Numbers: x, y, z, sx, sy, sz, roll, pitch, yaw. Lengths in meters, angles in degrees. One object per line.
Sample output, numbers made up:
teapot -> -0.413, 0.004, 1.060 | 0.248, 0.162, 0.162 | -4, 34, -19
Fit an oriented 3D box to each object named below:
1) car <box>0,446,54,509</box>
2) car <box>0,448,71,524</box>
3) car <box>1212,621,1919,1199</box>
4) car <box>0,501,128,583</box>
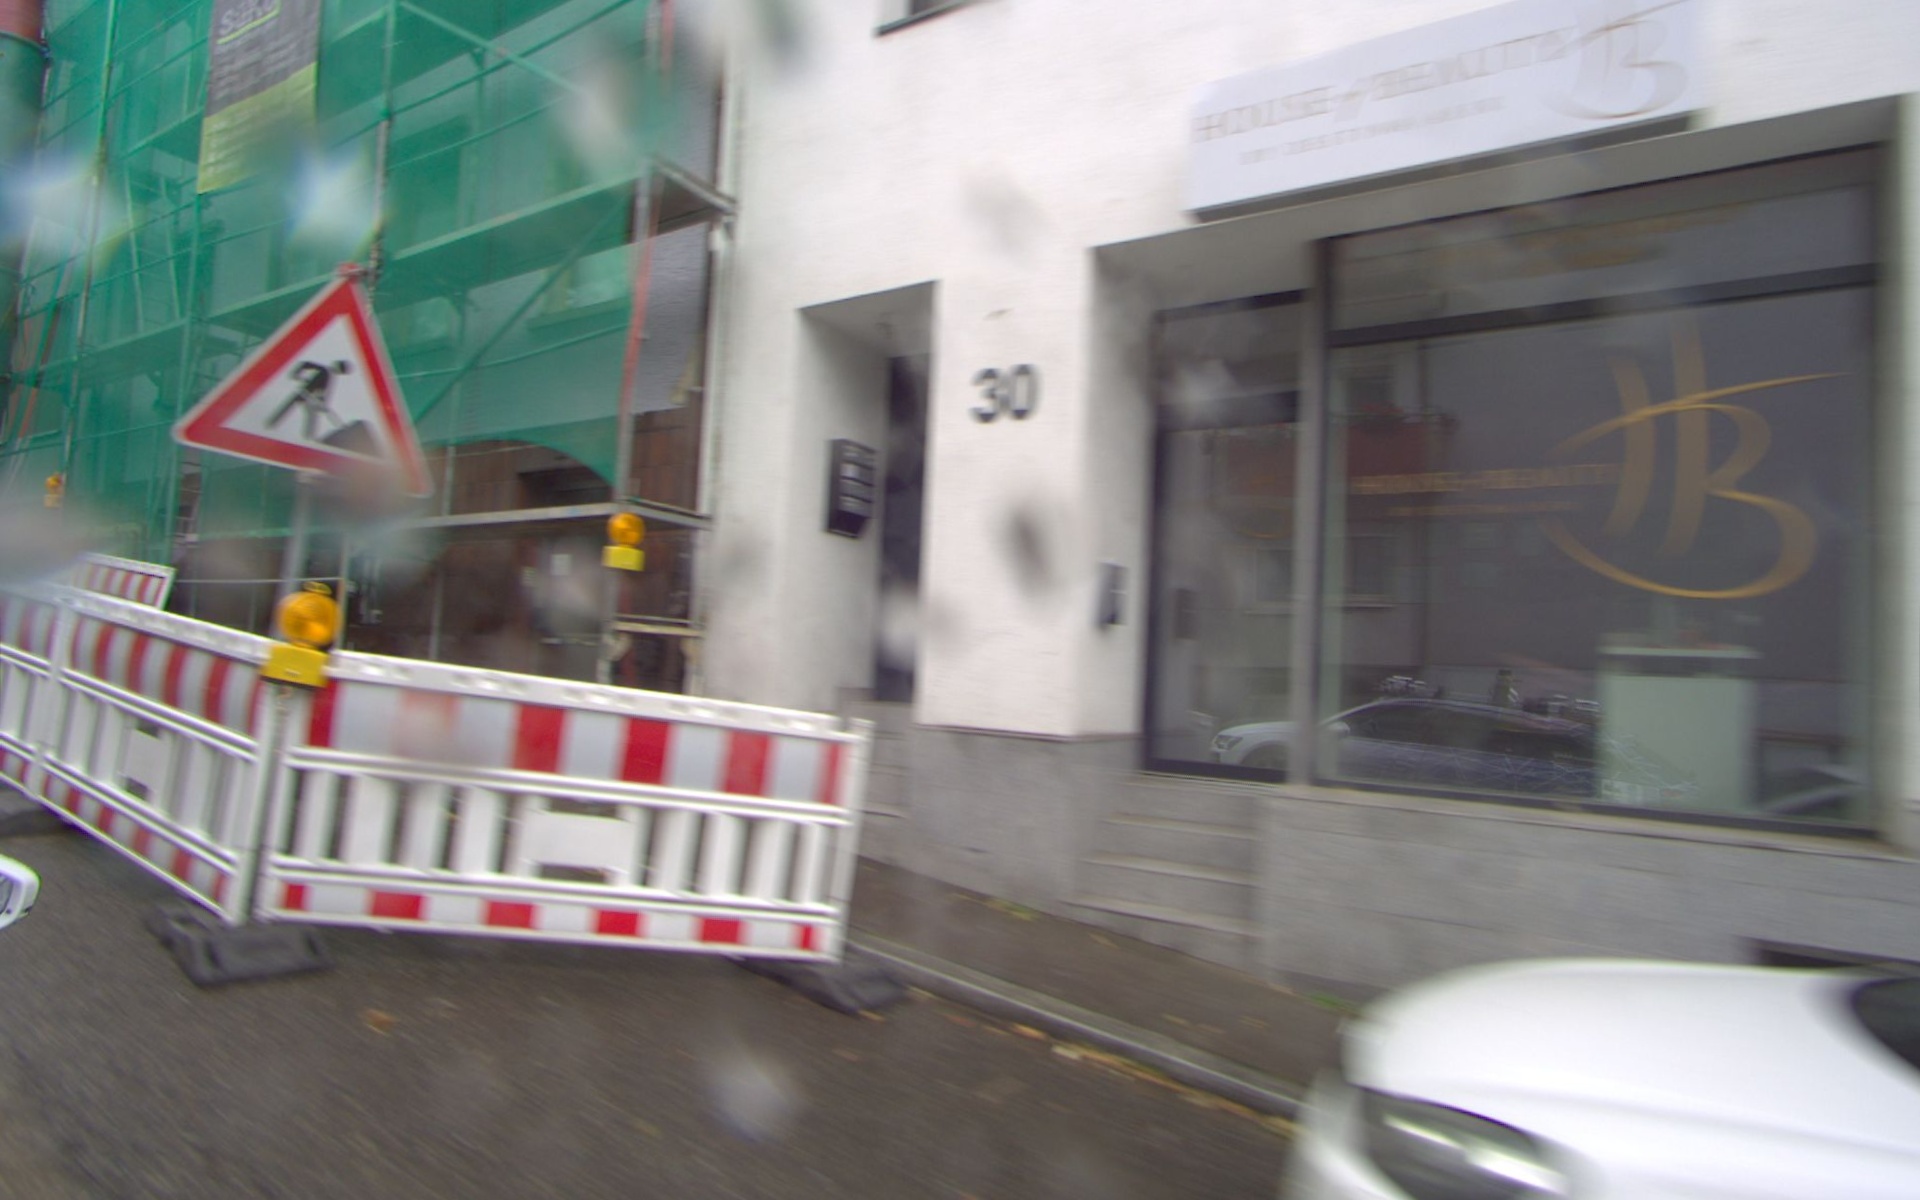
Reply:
car -> -26.066, -3.237, 25.437 | 1.845, 1.552, 4.337 | 8, 6, 30
car -> -23.762, -2.808, 23.749 | 1.699, 1.727, 3.824 | 8, 5, 30
car -> 2.780, 1.115, 1.495 | 4.265, 1.529, 1.998 | 7, -3, 32
car -> -21.098, -1.412, 21.784 | 1.862, 1.484, 4.276 | 8, -1, 30
